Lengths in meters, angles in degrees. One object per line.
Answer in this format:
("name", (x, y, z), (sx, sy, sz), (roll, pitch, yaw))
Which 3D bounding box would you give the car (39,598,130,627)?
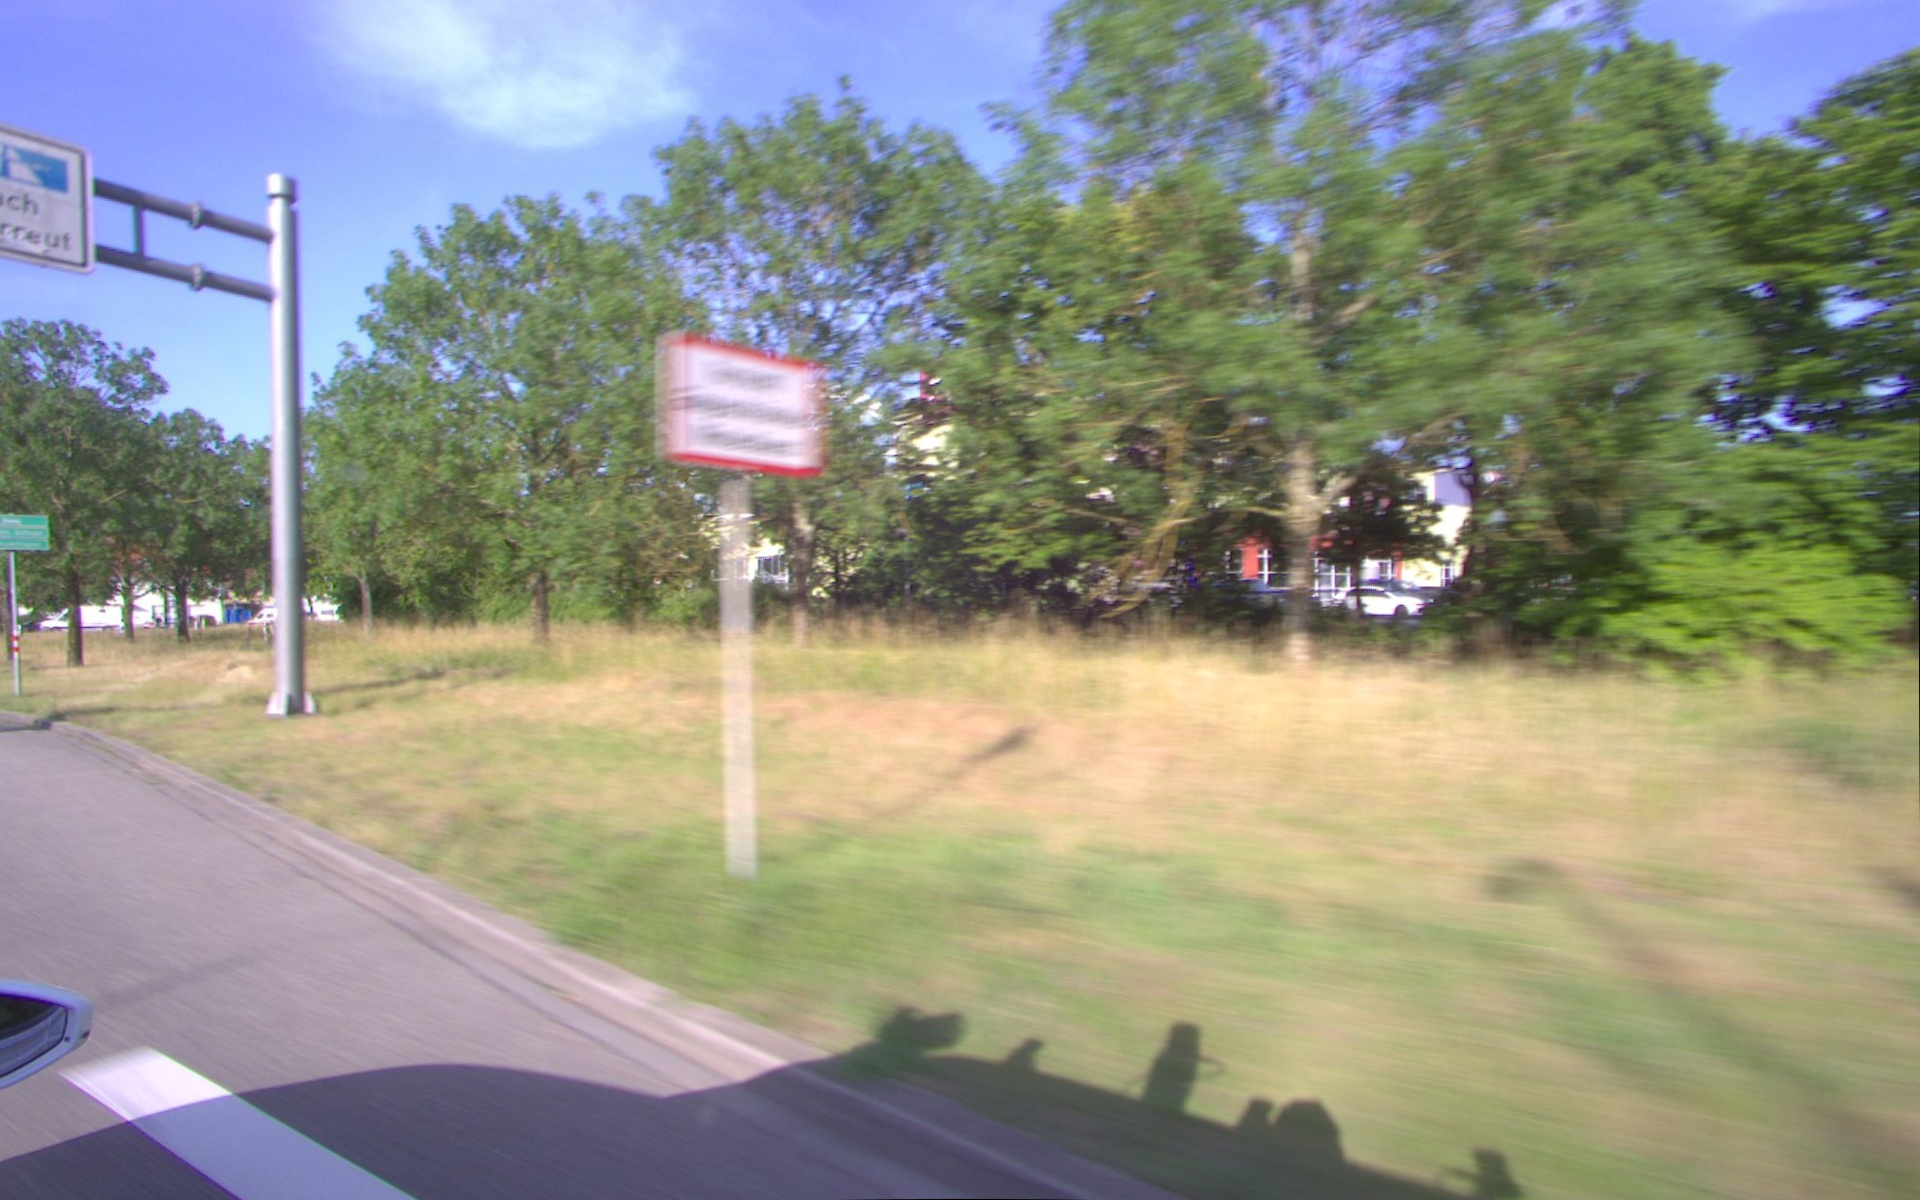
("car", (-81.668, 1.116, 93.497), (1.978, 2.618, 6.173), (0, 0, 43))

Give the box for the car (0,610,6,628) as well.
("car", (-87.153, 1.715, 87.727), (1.820, 1.584, 5.065), (-1, 0, 43))

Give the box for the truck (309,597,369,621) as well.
("truck", (-76.160, 1.084, 122.868), (5.961, 2.892, 1.895), (-1, 1, -3))

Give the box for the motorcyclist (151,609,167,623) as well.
("motorcyclist", (-77.566, 1.549, 96.977), (0.672, 1.370, 1.060), (0, 1, 42))

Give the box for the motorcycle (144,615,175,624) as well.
("motorcycle", (-77.558, 1.902, 96.984), (0.683, 0.878, 2.259), (0, 0, 42))
